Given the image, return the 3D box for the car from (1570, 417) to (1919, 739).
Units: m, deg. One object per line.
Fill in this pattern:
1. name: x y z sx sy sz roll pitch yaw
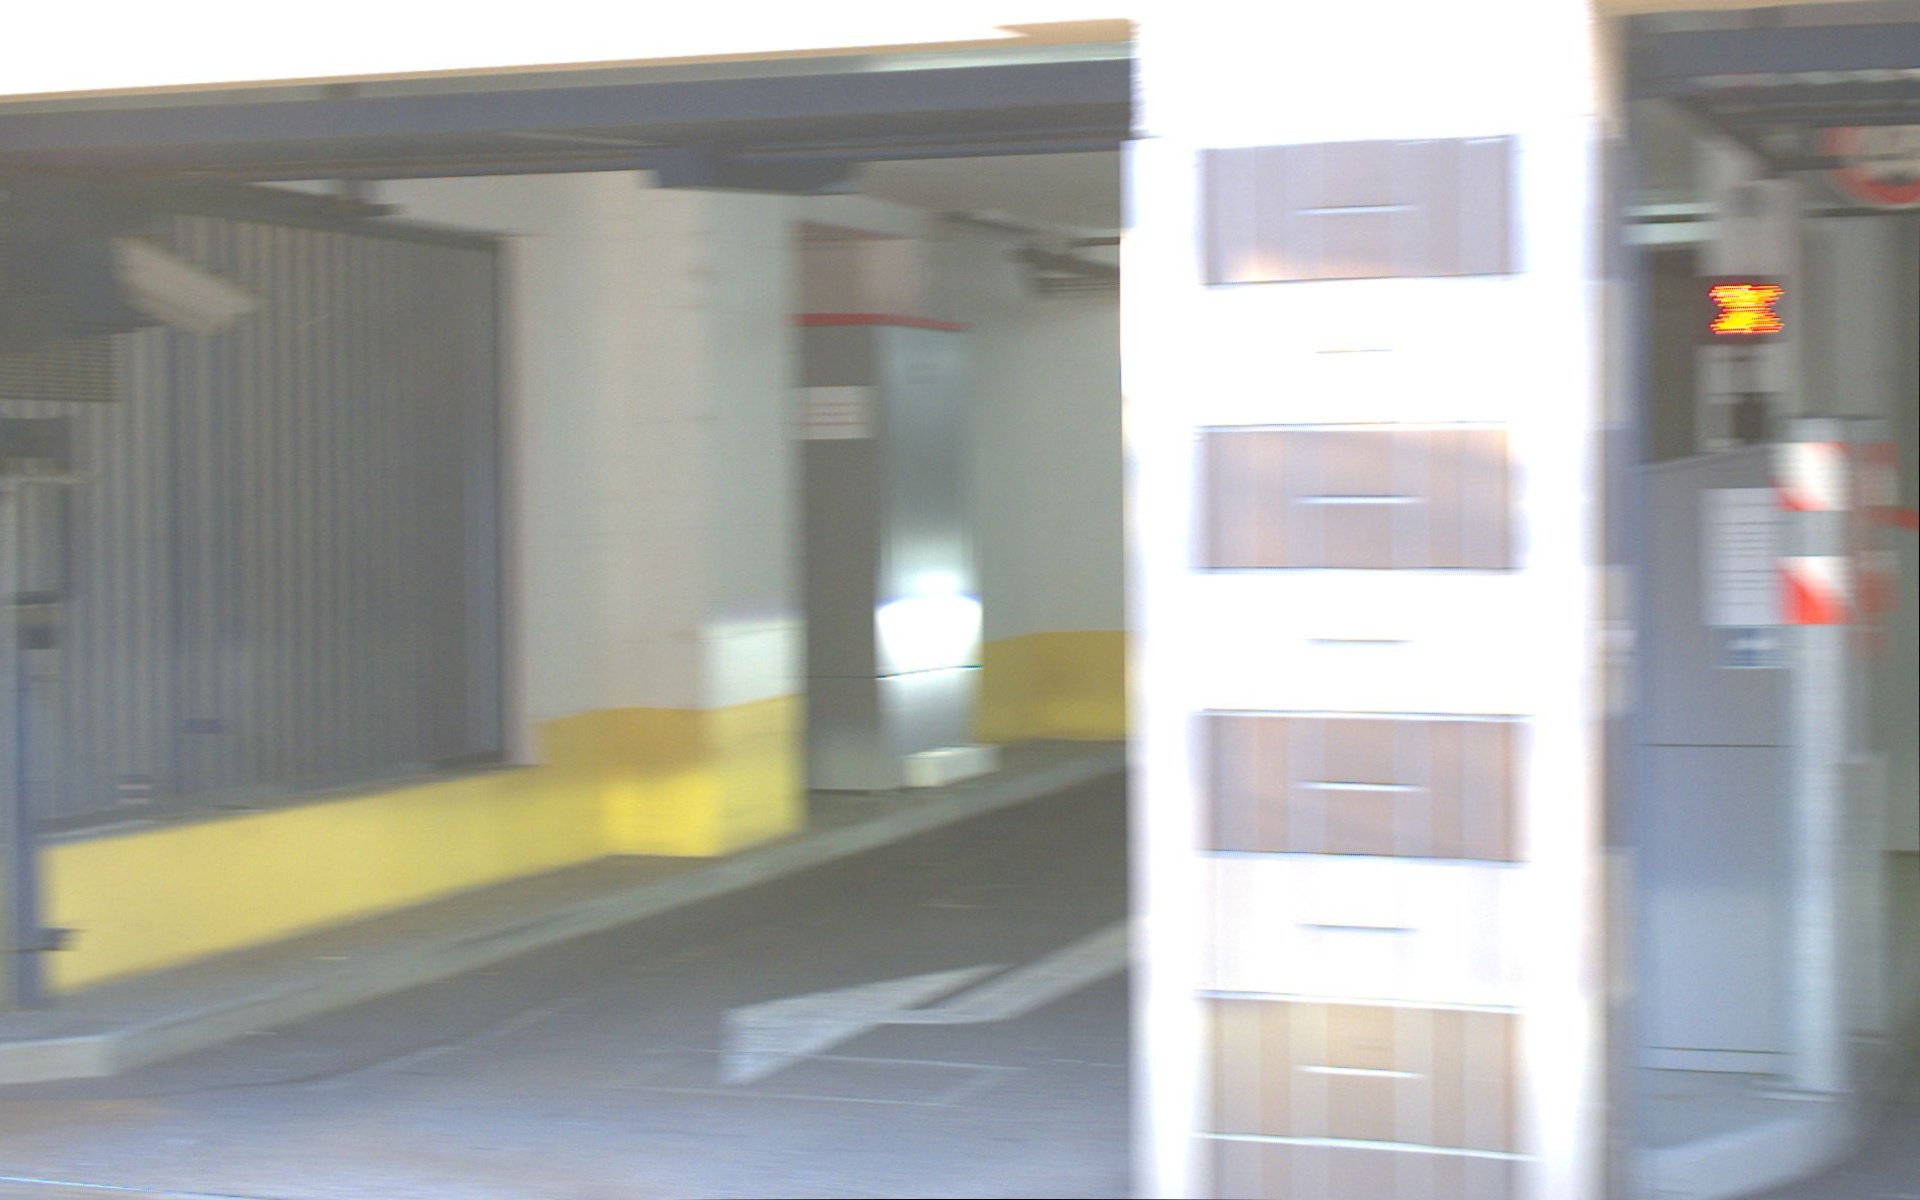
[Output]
1. car: 5.020 -0.212 19.014 1.816 1.567 4.244 0 3 31
